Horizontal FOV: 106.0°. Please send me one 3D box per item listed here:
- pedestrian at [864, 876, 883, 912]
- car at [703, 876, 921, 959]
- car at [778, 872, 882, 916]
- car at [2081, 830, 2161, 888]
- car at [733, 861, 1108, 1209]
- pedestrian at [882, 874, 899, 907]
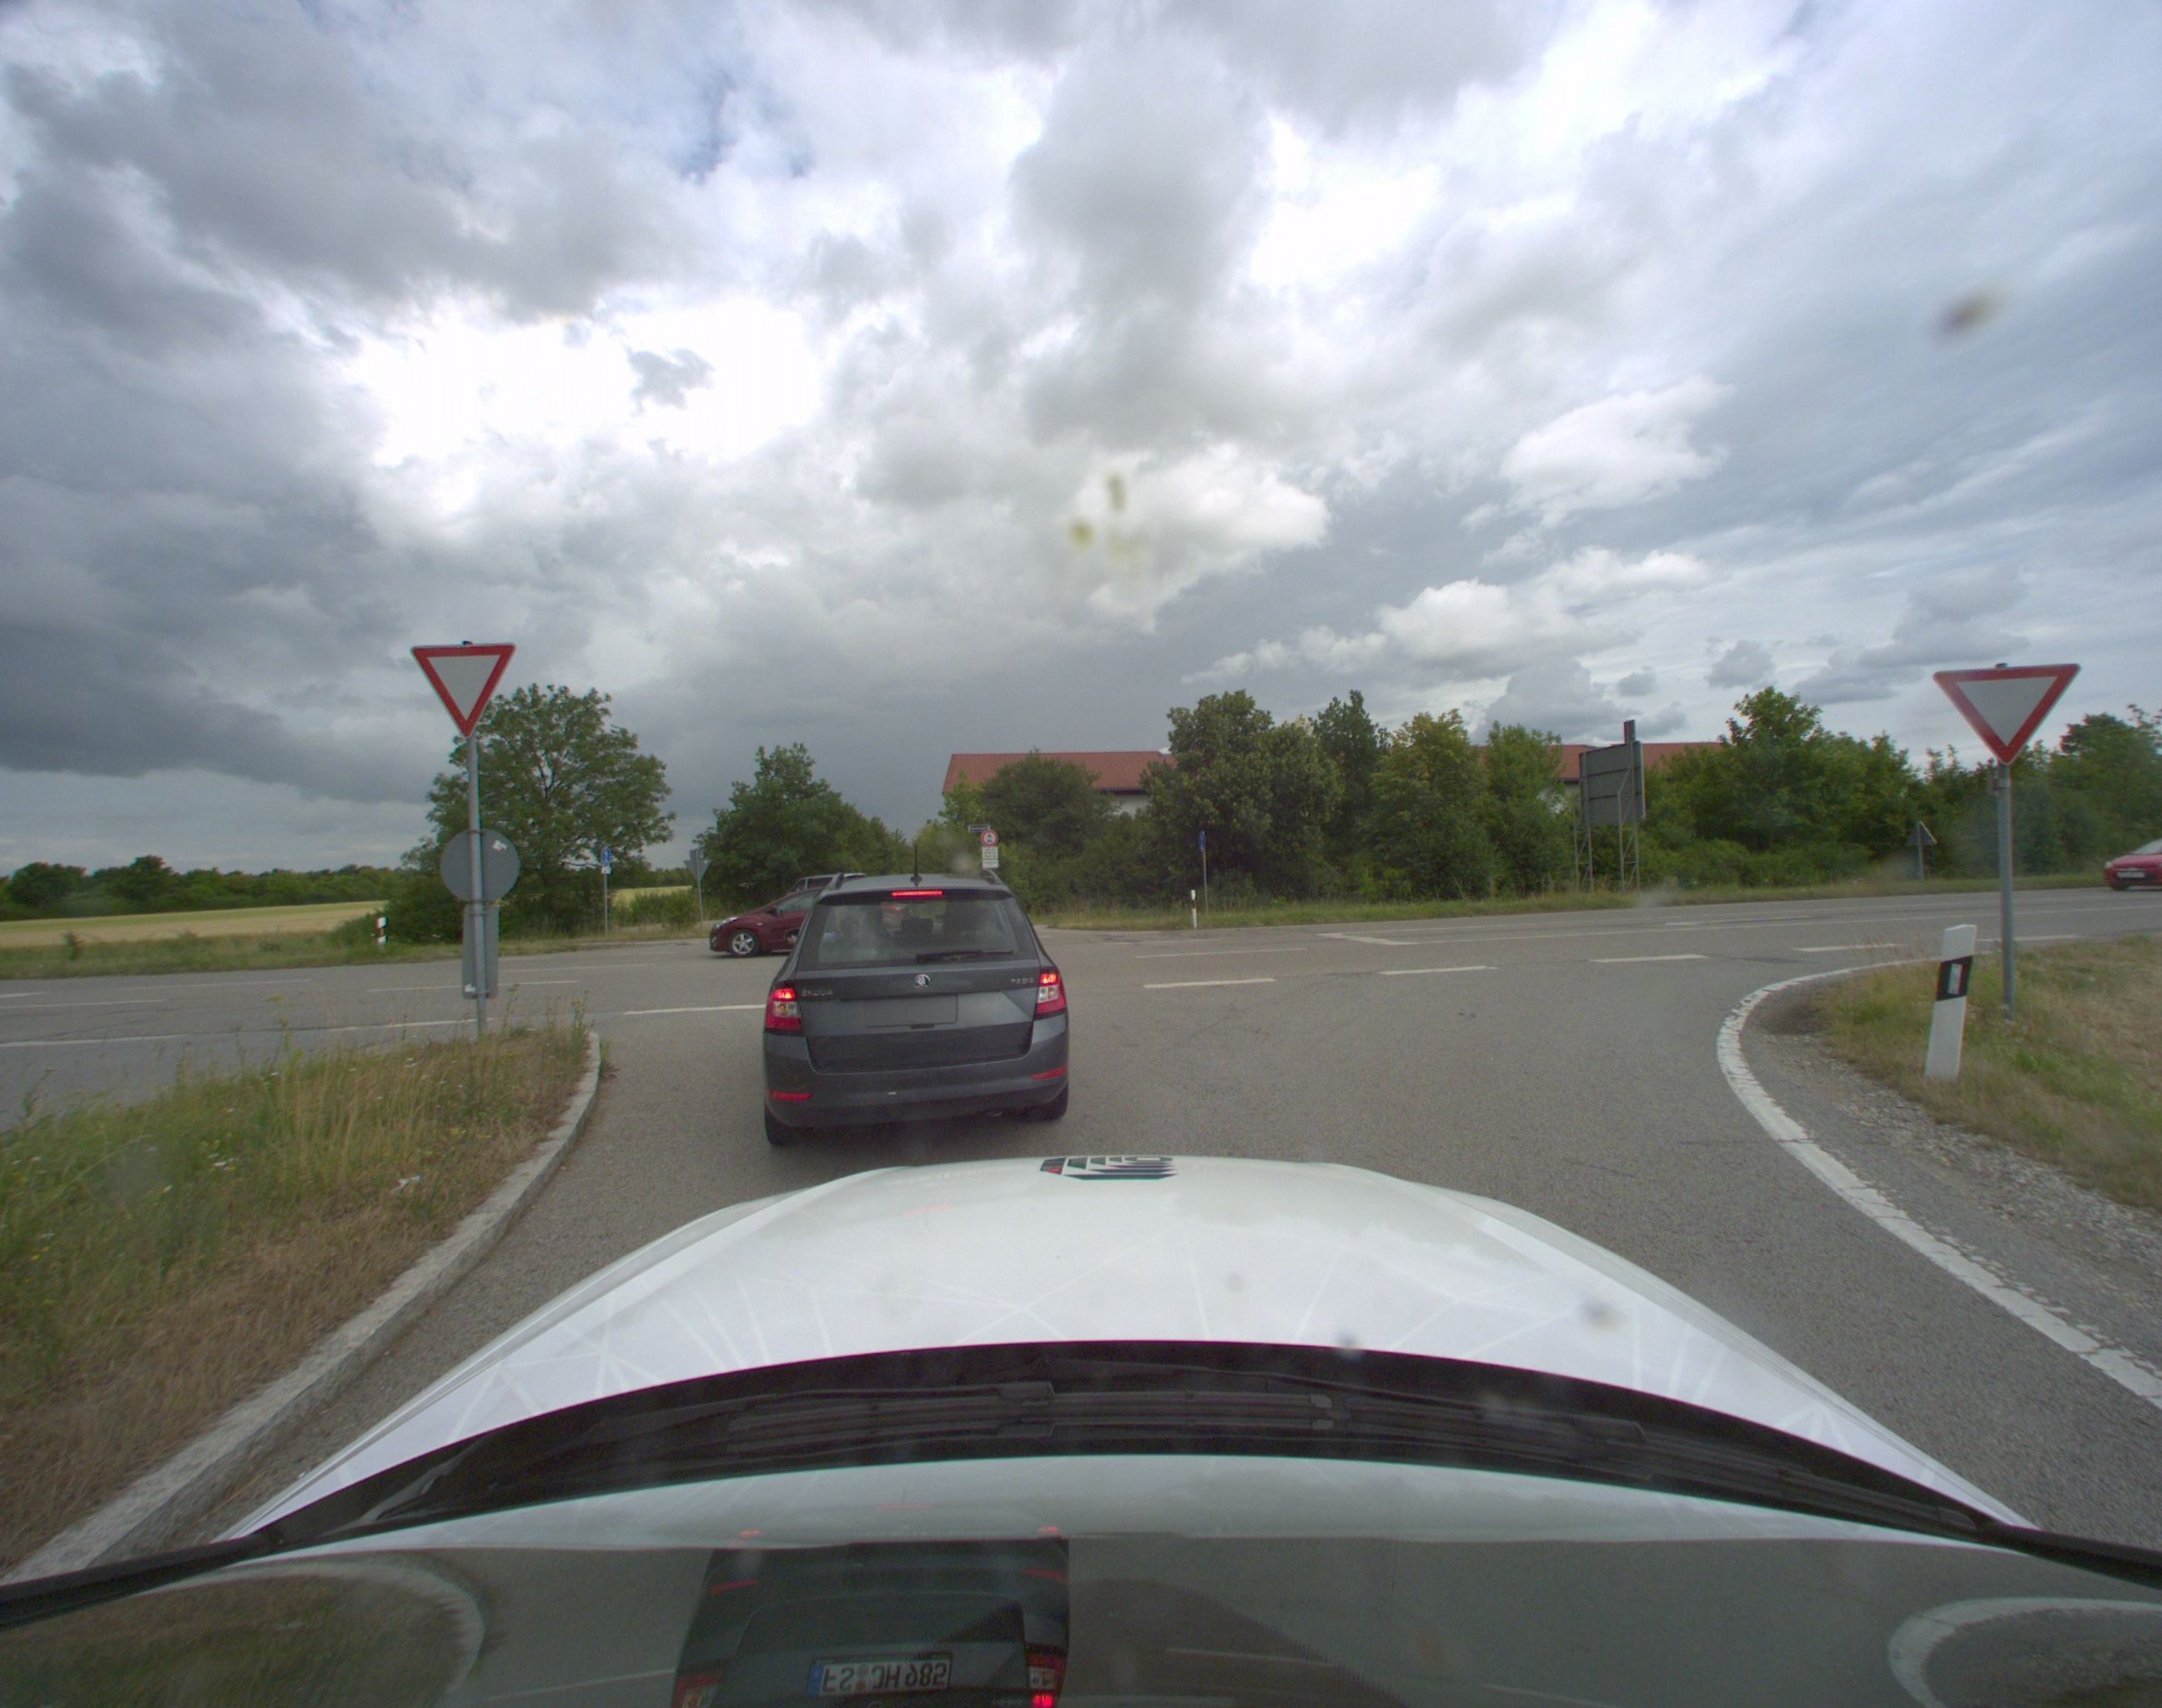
[{"bbox_3d":[-10.389,2.001,40.796,0.523,1.725,0.646,-3,0,32],"label":"pedestrian"},{"bbox_3d":[-5.708,1.326,17.800,4.145,1.464,1.994,-3,-1,-8],"label":"car"},{"bbox_3d":[-12.712,2.039,41.233,4.851,2.013,2.357,-3,0,33],"label":"car"},{"bbox_3d":[30.262,0.078,22.244,3.982,1.466,1.852,-3,-1,-6],"label":"car"},{"bbox_3d":[-1.181,0.825,5.574,1.679,1.463,3.688,-2,-1,-15],"label":"car"},{"bbox_3d":[-9.915,1.911,42.434,0.578,1.682,0.569,-3,0,20],"label":"pedestrian"}]
